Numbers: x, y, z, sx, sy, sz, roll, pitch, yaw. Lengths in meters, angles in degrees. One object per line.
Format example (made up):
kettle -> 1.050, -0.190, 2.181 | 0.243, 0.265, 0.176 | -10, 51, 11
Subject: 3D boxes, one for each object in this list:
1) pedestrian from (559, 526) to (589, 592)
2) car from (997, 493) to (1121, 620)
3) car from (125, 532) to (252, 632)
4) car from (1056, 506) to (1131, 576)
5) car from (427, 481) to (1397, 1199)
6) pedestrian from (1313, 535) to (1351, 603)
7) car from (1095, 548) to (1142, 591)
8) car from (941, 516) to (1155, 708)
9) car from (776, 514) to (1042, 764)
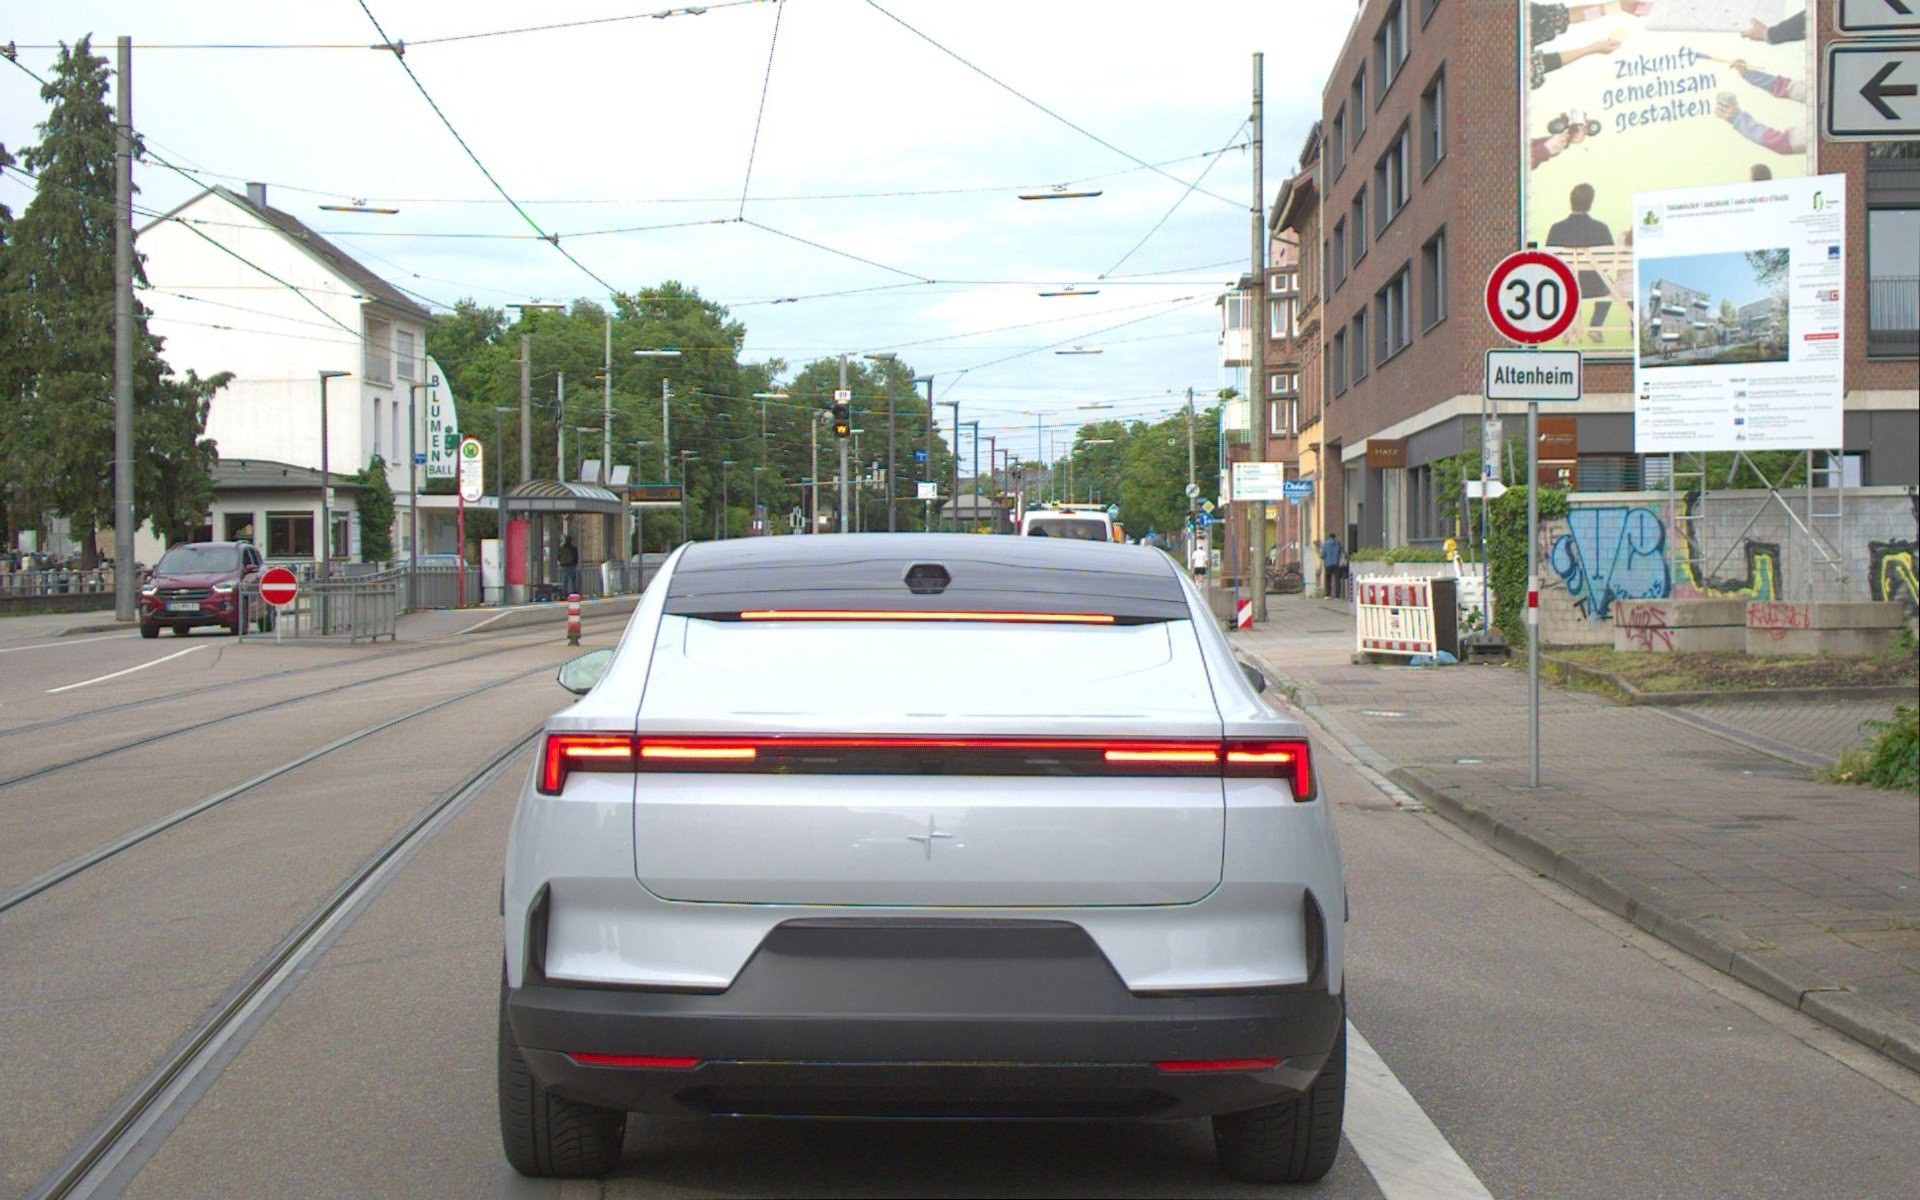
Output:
pedestrian -> -9.850, -1.051, 87.663 | 0.615, 1.659, 0.697 | 1, 0, 5
car -> 1.924, -0.858, 68.243 | 2.226, 2.394, 5.123 | 1, 1, -1
car -> -13.783, -0.339, 61.581 | 1.842, 1.718, 4.408 | 0, 1, -8
car -> 3.937, -1.721, 101.786 | 1.993, 2.007, 4.000 | 1, 1, 0
car -> -0.156, 0.543, 9.156 | 1.999, 1.575, 4.000 | 1, 0, -2
pedestrian -> 10.409, -0.859, 96.140 | 0.961, 1.844, 0.975 | -2, 1, 9
car -> 7.538, -1.447, 163.831 | 1.993, 2.007, 4.000 | 1, 1, -1
car -> 0.829, 0.083, 34.802 | 1.993, 1.809, 4.000 | -1, 1, -1
car -> -0.303, 0.247, 25.313 | 1.681, 1.682, 3.823 | 1, 1, 3
